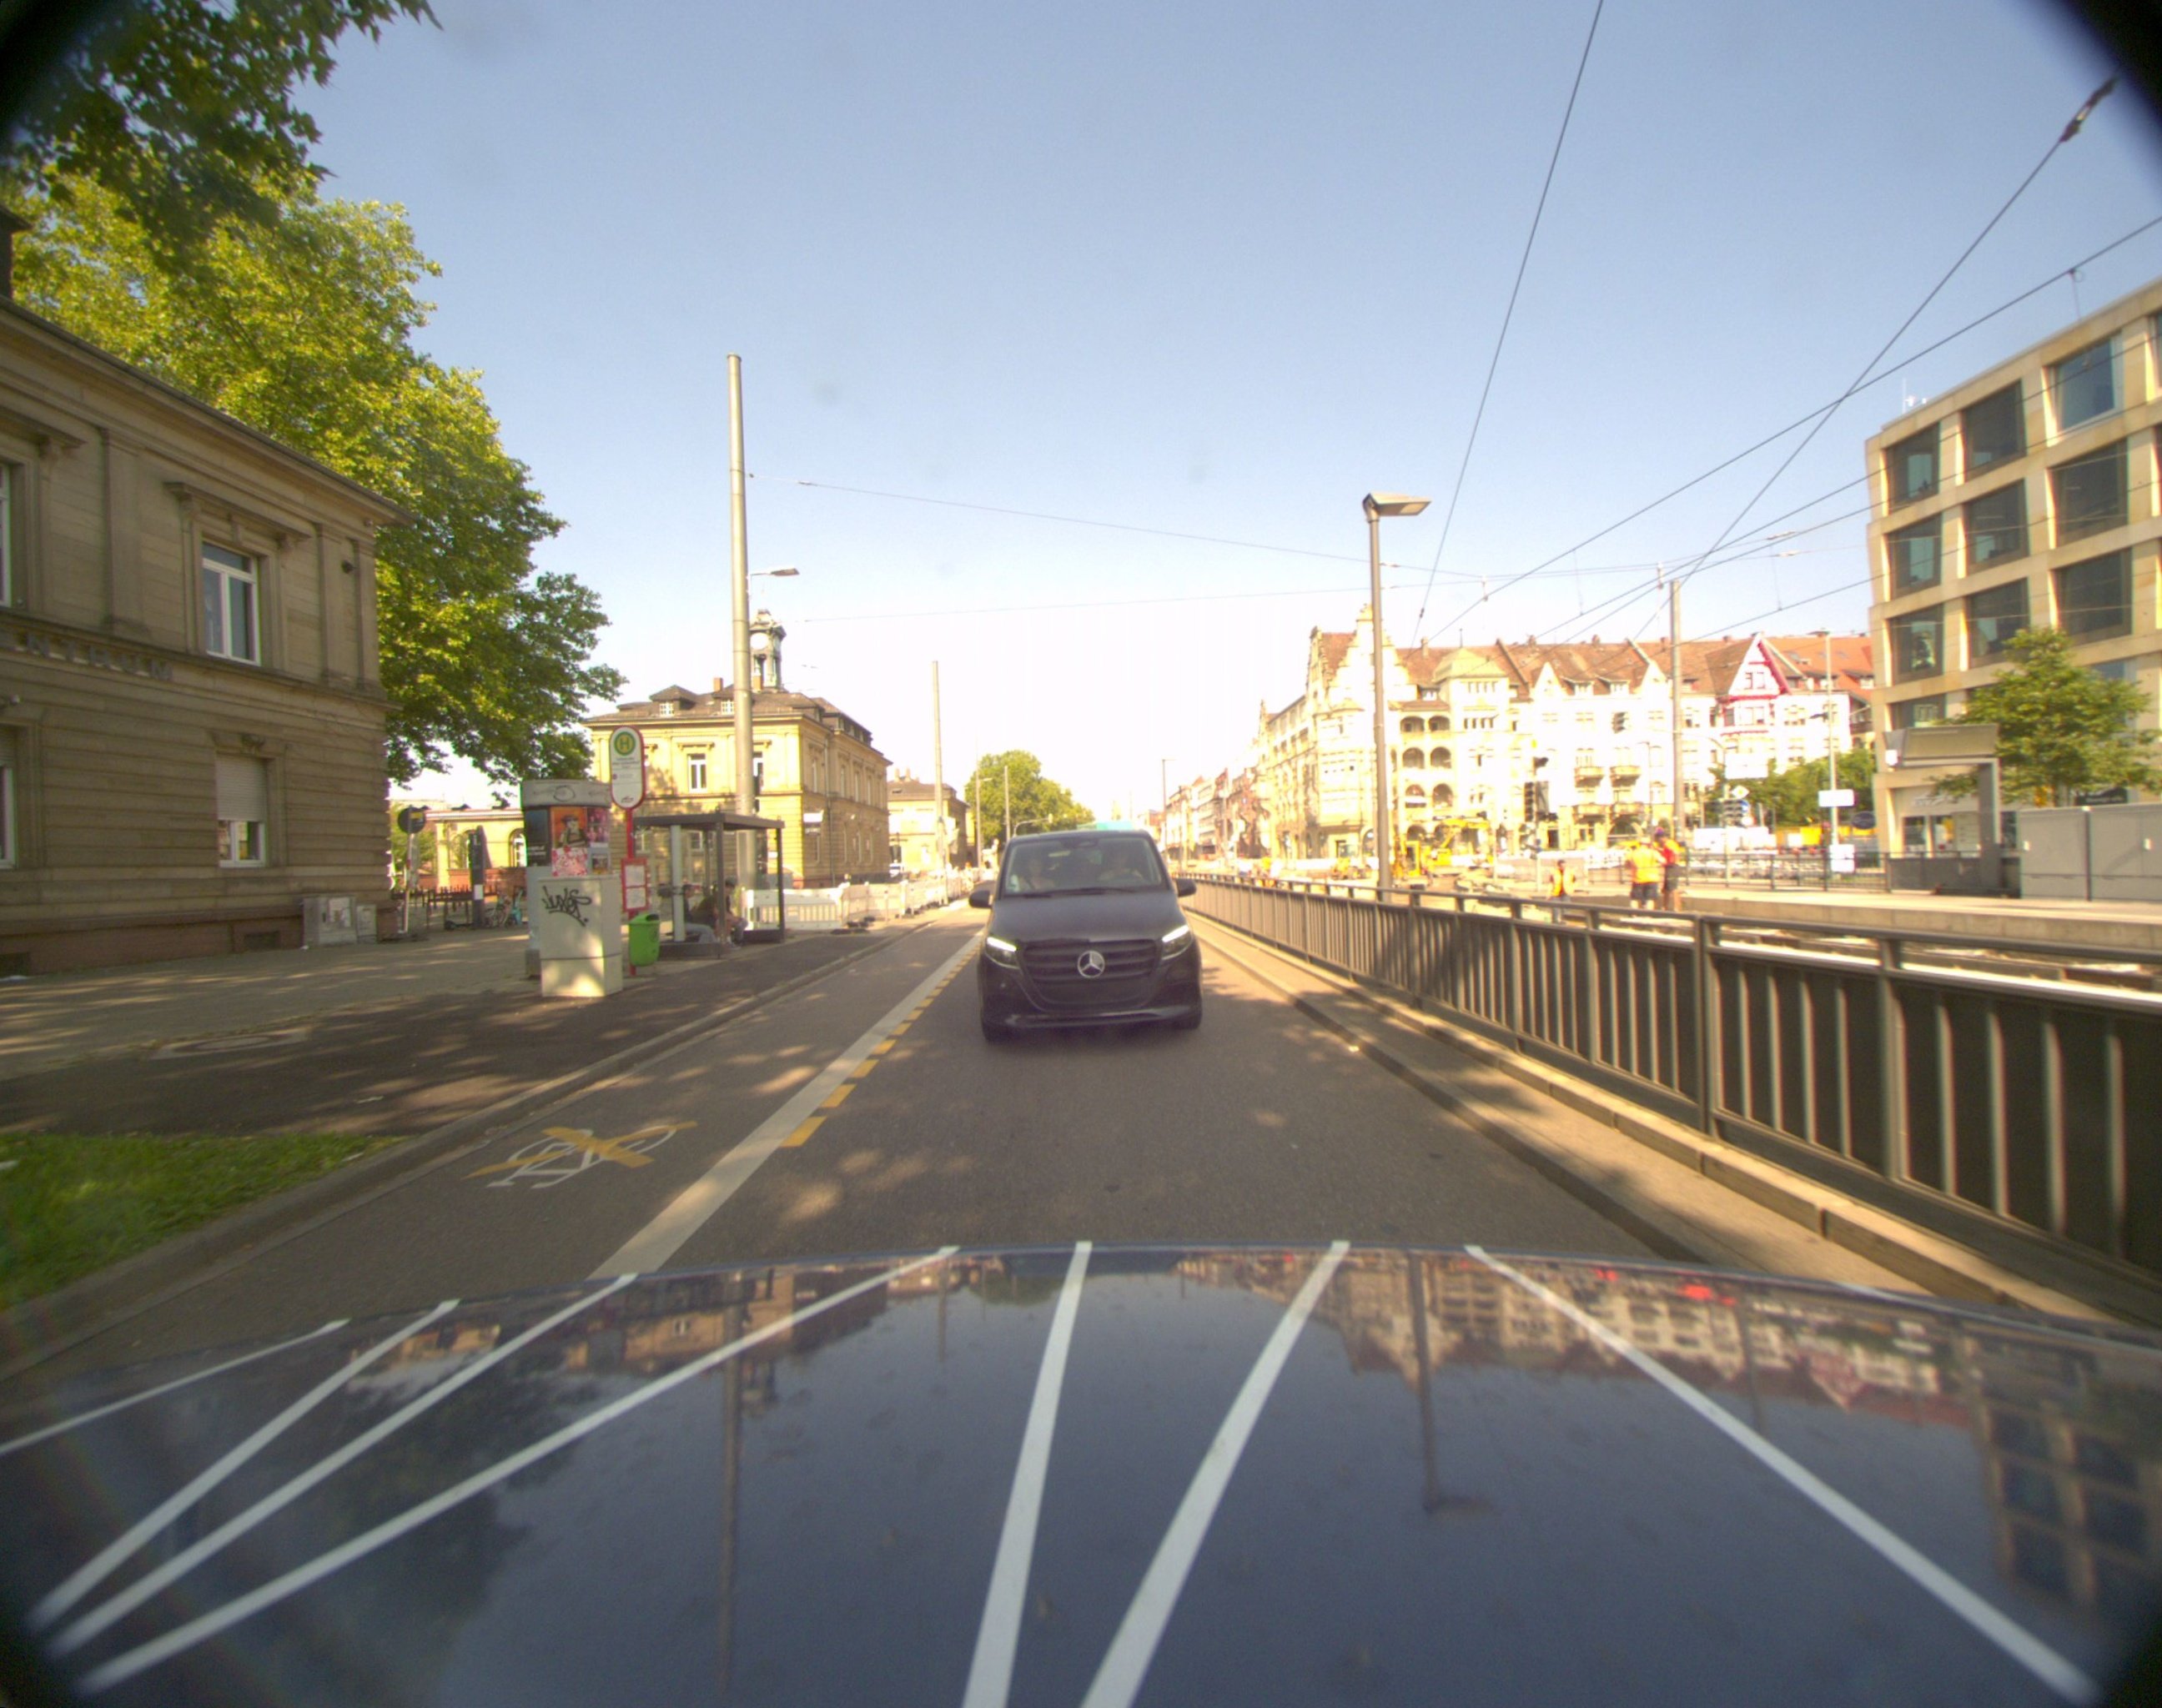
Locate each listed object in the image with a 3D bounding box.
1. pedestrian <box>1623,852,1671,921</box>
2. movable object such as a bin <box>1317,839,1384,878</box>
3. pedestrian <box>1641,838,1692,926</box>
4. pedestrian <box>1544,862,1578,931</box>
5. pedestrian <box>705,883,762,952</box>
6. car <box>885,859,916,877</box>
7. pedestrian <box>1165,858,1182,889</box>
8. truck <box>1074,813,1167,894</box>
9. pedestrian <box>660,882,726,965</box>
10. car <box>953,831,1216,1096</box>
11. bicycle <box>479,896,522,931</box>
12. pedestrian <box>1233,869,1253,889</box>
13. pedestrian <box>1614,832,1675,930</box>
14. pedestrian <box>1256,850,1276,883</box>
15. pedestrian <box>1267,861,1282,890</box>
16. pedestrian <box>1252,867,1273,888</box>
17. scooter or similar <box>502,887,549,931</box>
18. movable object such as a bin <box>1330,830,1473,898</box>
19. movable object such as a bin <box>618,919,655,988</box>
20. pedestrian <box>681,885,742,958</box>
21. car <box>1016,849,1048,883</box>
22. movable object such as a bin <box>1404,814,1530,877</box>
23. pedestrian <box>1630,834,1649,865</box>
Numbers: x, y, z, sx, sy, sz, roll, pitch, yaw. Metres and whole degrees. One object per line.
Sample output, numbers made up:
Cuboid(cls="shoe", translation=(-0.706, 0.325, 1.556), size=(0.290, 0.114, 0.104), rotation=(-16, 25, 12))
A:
Cuboid(cls="pedestrian", translation=(12.906, 0.729, 17.323), size=(0.642, 1.545, 0.625), rotation=(-1, 0, -27))
Cuboid(cls="movable object such as a bin", translation=(20.365, 0.320, 57.323), size=(4.825, 2.818, 2.443), rotation=(-2, 0, -38))
Cuboid(cls="pedestrian", translation=(12.286, 0.575, 15.949), size=(0.627, 1.805, 0.639), rotation=(-1, 0, -33))
Cuboid(cls="pedestrian", translation=(11.781, 1.032, 18.654), size=(0.667, 1.653, 0.773), rotation=(-1, 0, 33))
Cuboid(cls="pedestrian", translation=(-6.714, 1.216, 14.706), size=(0.743, 1.254, 0.611), rotation=(-3, 1, -1))
Cuboid(cls="car", translation=(-19.829, 1.600, 83.478), size=(1.907, 1.771, 4.230), rotation=(-1, -4, 7))
Cuboid(cls="pedestrian", translation=(4.720, 1.005, 38.935), size=(0.762, 1.557, 0.691), rotation=(-1, 0, -1))
Cuboid(cls="truck", translation=(1.953, 0.033, 41.863), size=(2.802, 3.889, 8.410), rotation=(-3, 0, -12))
Cuboid(cls="pedestrian", translation=(-6.768, 1.194, 13.288), size=(0.752, 1.358, 0.611), rotation=(-3, 1, -1))
Cuboid(cls="car", translation=(0.061, 0.805, 7.731), size=(1.853, 1.875, 4.178), rotation=(-3, 0, 1))
Cuboid(cls="bicycle", translation=(-17.738, 1.802, 23.267), size=(0.493, 0.993, 1.816), rotation=(-2, -2, -19))
Cuboid(cls="pedestrian", translation=(7.554, 1.156, 35.401), size=(0.821, 0.920, 0.512), rotation=(-1, 0, 6))
Cuboid(cls="pedestrian", translation=(11.487, 0.553, 15.512), size=(0.724, 1.939, 0.789), rotation=(-1, 0, 14))
Cuboid(cls="pedestrian", translation=(9.124, 0.615, 37.467), size=(0.818, 1.557, 0.557), rotation=(-1, 0, -1))
Cuboid(cls="pedestrian", translation=(10.530, 1.150, 41.366), size=(0.702, 1.557, 0.557), rotation=(-1, 0, 2))
Cuboid(cls="pedestrian", translation=(8.579, 1.095, 35.921), size=(0.513, 0.982, 0.933), rotation=(-1, 0, -22))
Cuboid(cls="scooter or similar", translation=(-16.382, 1.597, 22.436), size=(0.426, 1.221, 1.174), rotation=(-1, 0, 7))
Cuboid(cls="movable object such as a bin", translation=(16.035, 0.410, 38.997), size=(3.623, 2.941, 8.475), rotation=(-3, 1, 0))
Cuboid(cls="movable object such as a bin", translation=(-6.209, 1.379, 10.626), size=(0.272, 0.910, 0.386), rotation=(-2, 0, -3))
Cuboid(cls="pedestrian", translation=(-6.775, 1.228, 13.957), size=(0.743, 1.254, 0.611), rotation=(-3, 1, -1))
Cuboid(cls="car", translation=(-3.741, 0.873, 58.346), size=(2.213, 2.410, 7.197), rotation=(-1, 0, -3))
Cuboid(cls="movable object such as a bin", translation=(28.665, -0.635, 56.897), size=(7.369, 4.322, 4.973), rotation=(-1, 1, 13))
Cuboid(cls="pedestrian", translation=(37.939, -0.282, 51.618), size=(0.900, 2.052, 0.668), rotation=(-2, 0, -24))
